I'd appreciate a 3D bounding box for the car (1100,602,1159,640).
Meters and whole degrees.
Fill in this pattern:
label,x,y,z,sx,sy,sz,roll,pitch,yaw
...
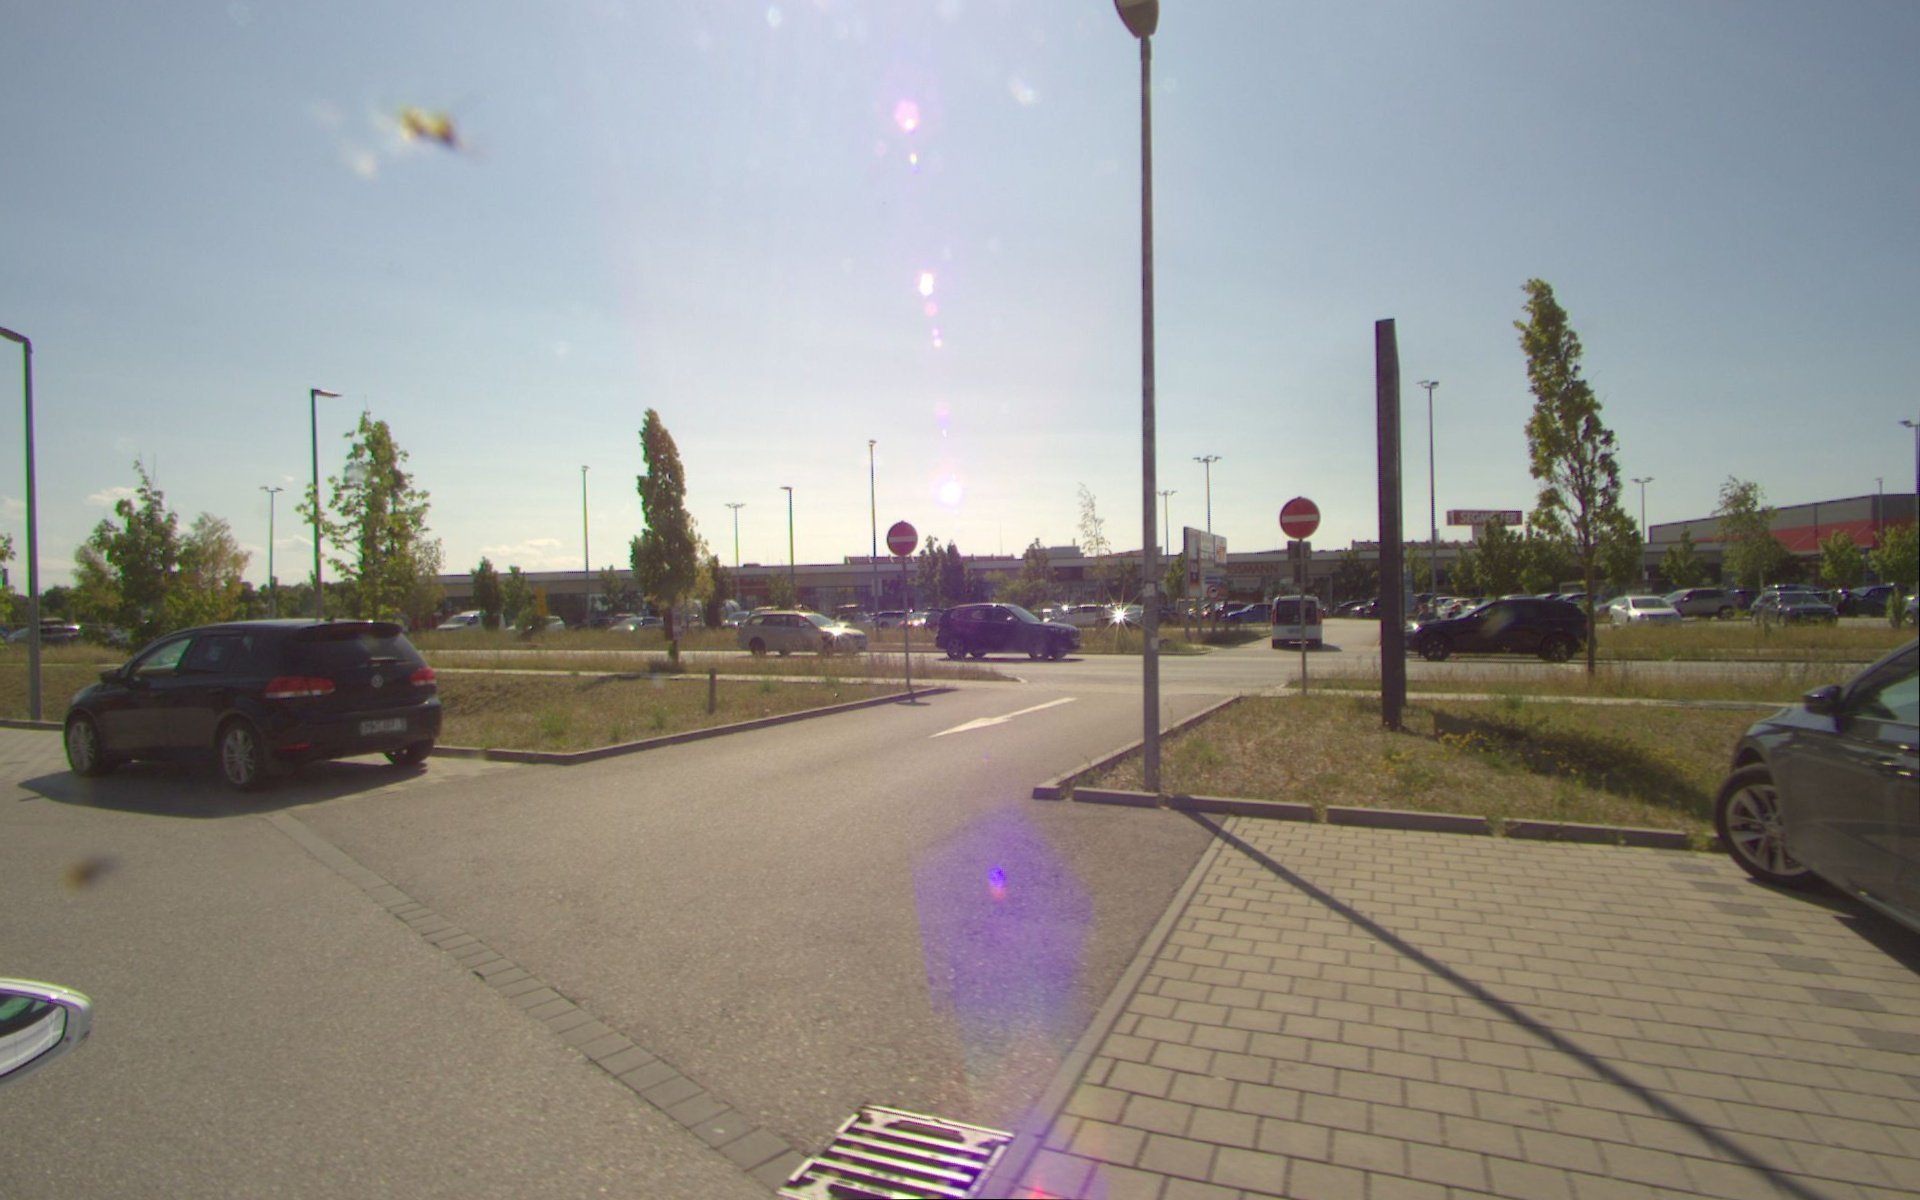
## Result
label,x,y,z,sx,sy,sz,roll,pitch,yaw
car,8.856,1.069,51.930,1.966,1.870,4.720,0,-1,23

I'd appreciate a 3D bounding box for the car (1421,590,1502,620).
label,x,y,z,sx,sy,sz,roll,pitch,yaw
car,32.670,0.345,65.289,4.319,1.880,1.956,0,0,3

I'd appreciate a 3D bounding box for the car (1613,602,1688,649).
label,x,y,z,sx,sy,sz,roll,pitch,yaw
car,29.042,1.049,42.264,1.968,1.880,4.271,0,-1,26

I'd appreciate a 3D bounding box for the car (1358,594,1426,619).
label,x,y,z,sx,sy,sz,roll,pitch,yaw
car,32.779,0.487,75.990,4.318,1.880,1.956,0,0,0

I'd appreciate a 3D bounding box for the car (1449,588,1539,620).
label,x,y,z,sx,sy,sz,roll,pitch,yaw
car,31.844,0.273,59.767,4.319,1.880,1.956,0,0,3

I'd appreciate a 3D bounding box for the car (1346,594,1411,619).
label,x,y,z,sx,sy,sz,roll,pitch,yaw
car,32.864,0.523,78.771,4.318,1.880,1.956,0,0,0

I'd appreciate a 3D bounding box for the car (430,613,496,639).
label,x,y,z,sx,sy,sz,roll,pitch,yaw
car,-32.968,1.710,66.481,1.809,1.639,3.660,0,-1,22

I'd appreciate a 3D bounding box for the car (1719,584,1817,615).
label,x,y,z,sx,sy,sz,roll,pitch,yaw
car,49.118,-0.024,60.945,4.319,1.880,1.956,0,0,3

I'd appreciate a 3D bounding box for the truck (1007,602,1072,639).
label,x,y,z,sx,sy,sz,roll,pitch,yaw
truck,4.381,1.095,54.552,1.966,1.888,5.419,0,-1,22

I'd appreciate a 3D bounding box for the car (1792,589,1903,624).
label,x,y,z,sx,sy,sz,roll,pitch,yaw
car,49.027,0.379,55.368,4.319,1.880,1.956,0,0,3

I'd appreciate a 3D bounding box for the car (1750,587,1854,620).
label,x,y,z,sx,sy,sz,roll,pitch,yaw
car,49.128,0.239,58.501,4.319,1.880,1.956,0,0,3

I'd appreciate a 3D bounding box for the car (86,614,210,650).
label,x,y,z,sx,sy,sz,roll,pitch,yaw
car,-35.002,1.350,43.217,3.922,1.503,1.879,0,0,5

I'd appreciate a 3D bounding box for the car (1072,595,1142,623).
label,x,y,z,sx,sy,sz,roll,pitch,yaw
car,10.884,0.683,74.347,4.836,2.040,2.082,0,0,-1

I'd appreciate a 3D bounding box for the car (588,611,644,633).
label,x,y,z,sx,sy,sz,roll,pitch,yaw
car,-26.532,1.667,77.219,3.612,1.639,1.906,0,0,10

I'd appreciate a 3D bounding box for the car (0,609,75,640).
label,x,y,z,sx,sy,sz,roll,pitch,yaw
car,-51.643,1.336,55.540,1.681,1.618,3.667,0,-1,4

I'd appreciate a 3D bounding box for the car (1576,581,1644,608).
label,x,y,z,sx,sy,sz,roll,pitch,yaw
car,50.293,-0.435,77.483,3.922,2.040,2.000,0,0,6

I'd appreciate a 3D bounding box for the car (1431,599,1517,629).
label,x,y,z,sx,sy,sz,roll,pitch,yaw
car,32.194,0.877,62.806,4.319,1.880,1.956,0,0,3

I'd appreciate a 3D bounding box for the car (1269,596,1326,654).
label,x,y,z,sx,sy,sz,roll,pitch,yaw
car,12.455,0.891,36.902,1.846,1.980,4.885,0,-1,19

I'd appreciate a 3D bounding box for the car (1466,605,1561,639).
label,x,y,z,sx,sy,sz,roll,pitch,yaw
car,31.624,1.242,57.295,4.319,1.880,1.956,0,0,3

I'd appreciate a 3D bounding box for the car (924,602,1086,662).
label,x,y,z,sx,sy,sz,roll,pitch,yaw
car,1.343,0.930,30.062,4.526,1.686,1.873,0,0,24

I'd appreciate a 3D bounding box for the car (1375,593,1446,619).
label,x,y,z,sx,sy,sz,roll,pitch,yaw
car,32.902,0.450,73.203,4.318,1.880,1.956,0,0,0

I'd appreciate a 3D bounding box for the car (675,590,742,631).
label,x,y,z,sx,sy,sz,roll,pitch,yaw
car,-15.685,0.666,62.732,1.962,2.487,5.073,0,-1,12

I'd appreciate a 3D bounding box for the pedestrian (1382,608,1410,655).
label,x,y,z,sx,sy,sz,roll,pitch,yaw
pedestrian,13.501,0.978,31.021,0.713,1.416,0.863,-1,-1,20

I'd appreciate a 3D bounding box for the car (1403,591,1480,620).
label,x,y,z,sx,sy,sz,roll,pitch,yaw
car,32.523,0.378,67.717,4.319,1.880,1.956,0,0,3

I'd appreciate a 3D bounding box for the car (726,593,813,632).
label,x,y,z,sx,sy,sz,roll,pitch,yaw
car,-11.632,0.765,61.841,2.765,2.266,6.304,0,-1,16

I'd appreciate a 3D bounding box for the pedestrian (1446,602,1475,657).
label,x,y,z,sx,sy,sz,roll,pitch,yaw
pedestrian,14.857,0.861,29.707,0.745,1.621,0.689,0,0,29

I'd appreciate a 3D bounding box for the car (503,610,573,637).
label,x,y,z,sx,sy,sz,roll,pitch,yaw
car,-27.946,1.520,66.524,1.963,1.748,4.419,0,-1,16

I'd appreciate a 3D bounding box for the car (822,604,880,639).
label,x,y,z,sx,sy,sz,roll,pitch,yaw
car,-6.492,1.261,60.248,1.962,2.040,5.176,0,-1,12

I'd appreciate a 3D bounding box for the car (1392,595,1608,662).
label,x,y,z,sx,sy,sz,roll,pitch,yaw
car,14.082,0.732,26.449,4.721,1.646,1.996,0,0,19

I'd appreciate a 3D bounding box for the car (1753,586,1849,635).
label,x,y,z,sx,sy,sz,roll,pitch,yaw
car,33.603,0.429,40.160,1.924,1.880,4.389,0,-1,26

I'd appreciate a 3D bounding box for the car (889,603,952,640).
label,x,y,z,sx,sy,sz,roll,pitch,yaw
car,-2.249,1.233,57.702,1.968,2.040,4.076,0,-1,26

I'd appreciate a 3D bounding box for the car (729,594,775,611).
label,x,y,z,sx,sy,sz,roll,pitch,yaw
car,-17.139,0.210,82.563,3.418,1.418,1.431,0,0,10

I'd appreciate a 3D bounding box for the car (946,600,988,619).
label,x,y,z,sx,sy,sz,roll,pitch,yaw
car,0.564,0.784,82.773,3.408,1.572,1.667,0,0,-2

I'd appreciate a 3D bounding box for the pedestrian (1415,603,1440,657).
label,x,y,z,sx,sy,sz,roll,pitch,yaw
pedestrian,14.061,0.895,30.131,0.657,1.576,0.623,0,0,29

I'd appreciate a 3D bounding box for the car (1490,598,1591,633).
label,x,y,z,sx,sy,sz,roll,pitch,yaw
car,31.727,0.845,54.821,4.319,1.880,1.956,0,0,3

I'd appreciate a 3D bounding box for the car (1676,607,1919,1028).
label,x,y,z,sx,sy,sz,roll,pitch,yaw
car,4.462,0.783,3.674,1.844,1.506,4.446,0,0,20

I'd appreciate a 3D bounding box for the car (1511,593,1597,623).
label,x,y,z,sx,sy,sz,roll,pitch,yaw
car,37.956,0.506,64.070,4.319,1.880,1.956,0,0,3

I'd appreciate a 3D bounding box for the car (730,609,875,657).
label,x,y,z,sx,sy,sz,roll,pitch,yaw
car,-5.266,1.062,33.451,4.526,1.503,1.873,0,0,24

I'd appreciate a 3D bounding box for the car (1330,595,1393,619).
label,x,y,z,sx,sy,sz,roll,pitch,yaw
car,32.649,0.560,81.501,4.318,1.880,1.956,0,0,0

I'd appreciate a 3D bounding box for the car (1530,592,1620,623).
label,x,y,z,sx,sy,sz,roll,pitch,yaw
car,37.878,0.475,61.720,4.319,1.880,1.956,0,0,3

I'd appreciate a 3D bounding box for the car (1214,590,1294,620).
label,x,y,z,sx,sy,sz,roll,pitch,yaw
car,18.521,0.333,63.236,4.484,1.880,1.956,0,0,3

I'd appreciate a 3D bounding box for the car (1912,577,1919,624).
label,x,y,z,sx,sy,sz,roll,pitch,yaw
car,38.734,-0.008,38.421,1.924,1.880,4.389,0,-1,26

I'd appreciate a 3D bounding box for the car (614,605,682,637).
label,x,y,z,sx,sy,sz,roll,pitch,yaw
car,-20.314,1.350,65.438,1.962,2.040,5.073,0,-1,12

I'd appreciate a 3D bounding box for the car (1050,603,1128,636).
label,x,y,z,sx,sy,sz,roll,pitch,yaw
car,7.607,1.155,59.095,4.327,1.870,1.997,0,0,17

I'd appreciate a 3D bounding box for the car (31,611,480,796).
label,x,y,z,sx,sy,sz,roll,pitch,yaw
car,-7.048,0.905,10.033,4.052,1.497,1.836,-1,1,24

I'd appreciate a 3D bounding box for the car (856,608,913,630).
label,x,y,z,sx,sy,sz,roll,pitch,yaw
car,-5.674,1.426,75.802,3.924,1.639,1.999,-1,0,11

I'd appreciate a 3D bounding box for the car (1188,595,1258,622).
label,x,y,z,sx,sy,sz,roll,pitch,yaw
car,18.671,0.602,71.181,4.484,1.880,1.956,0,0,3
